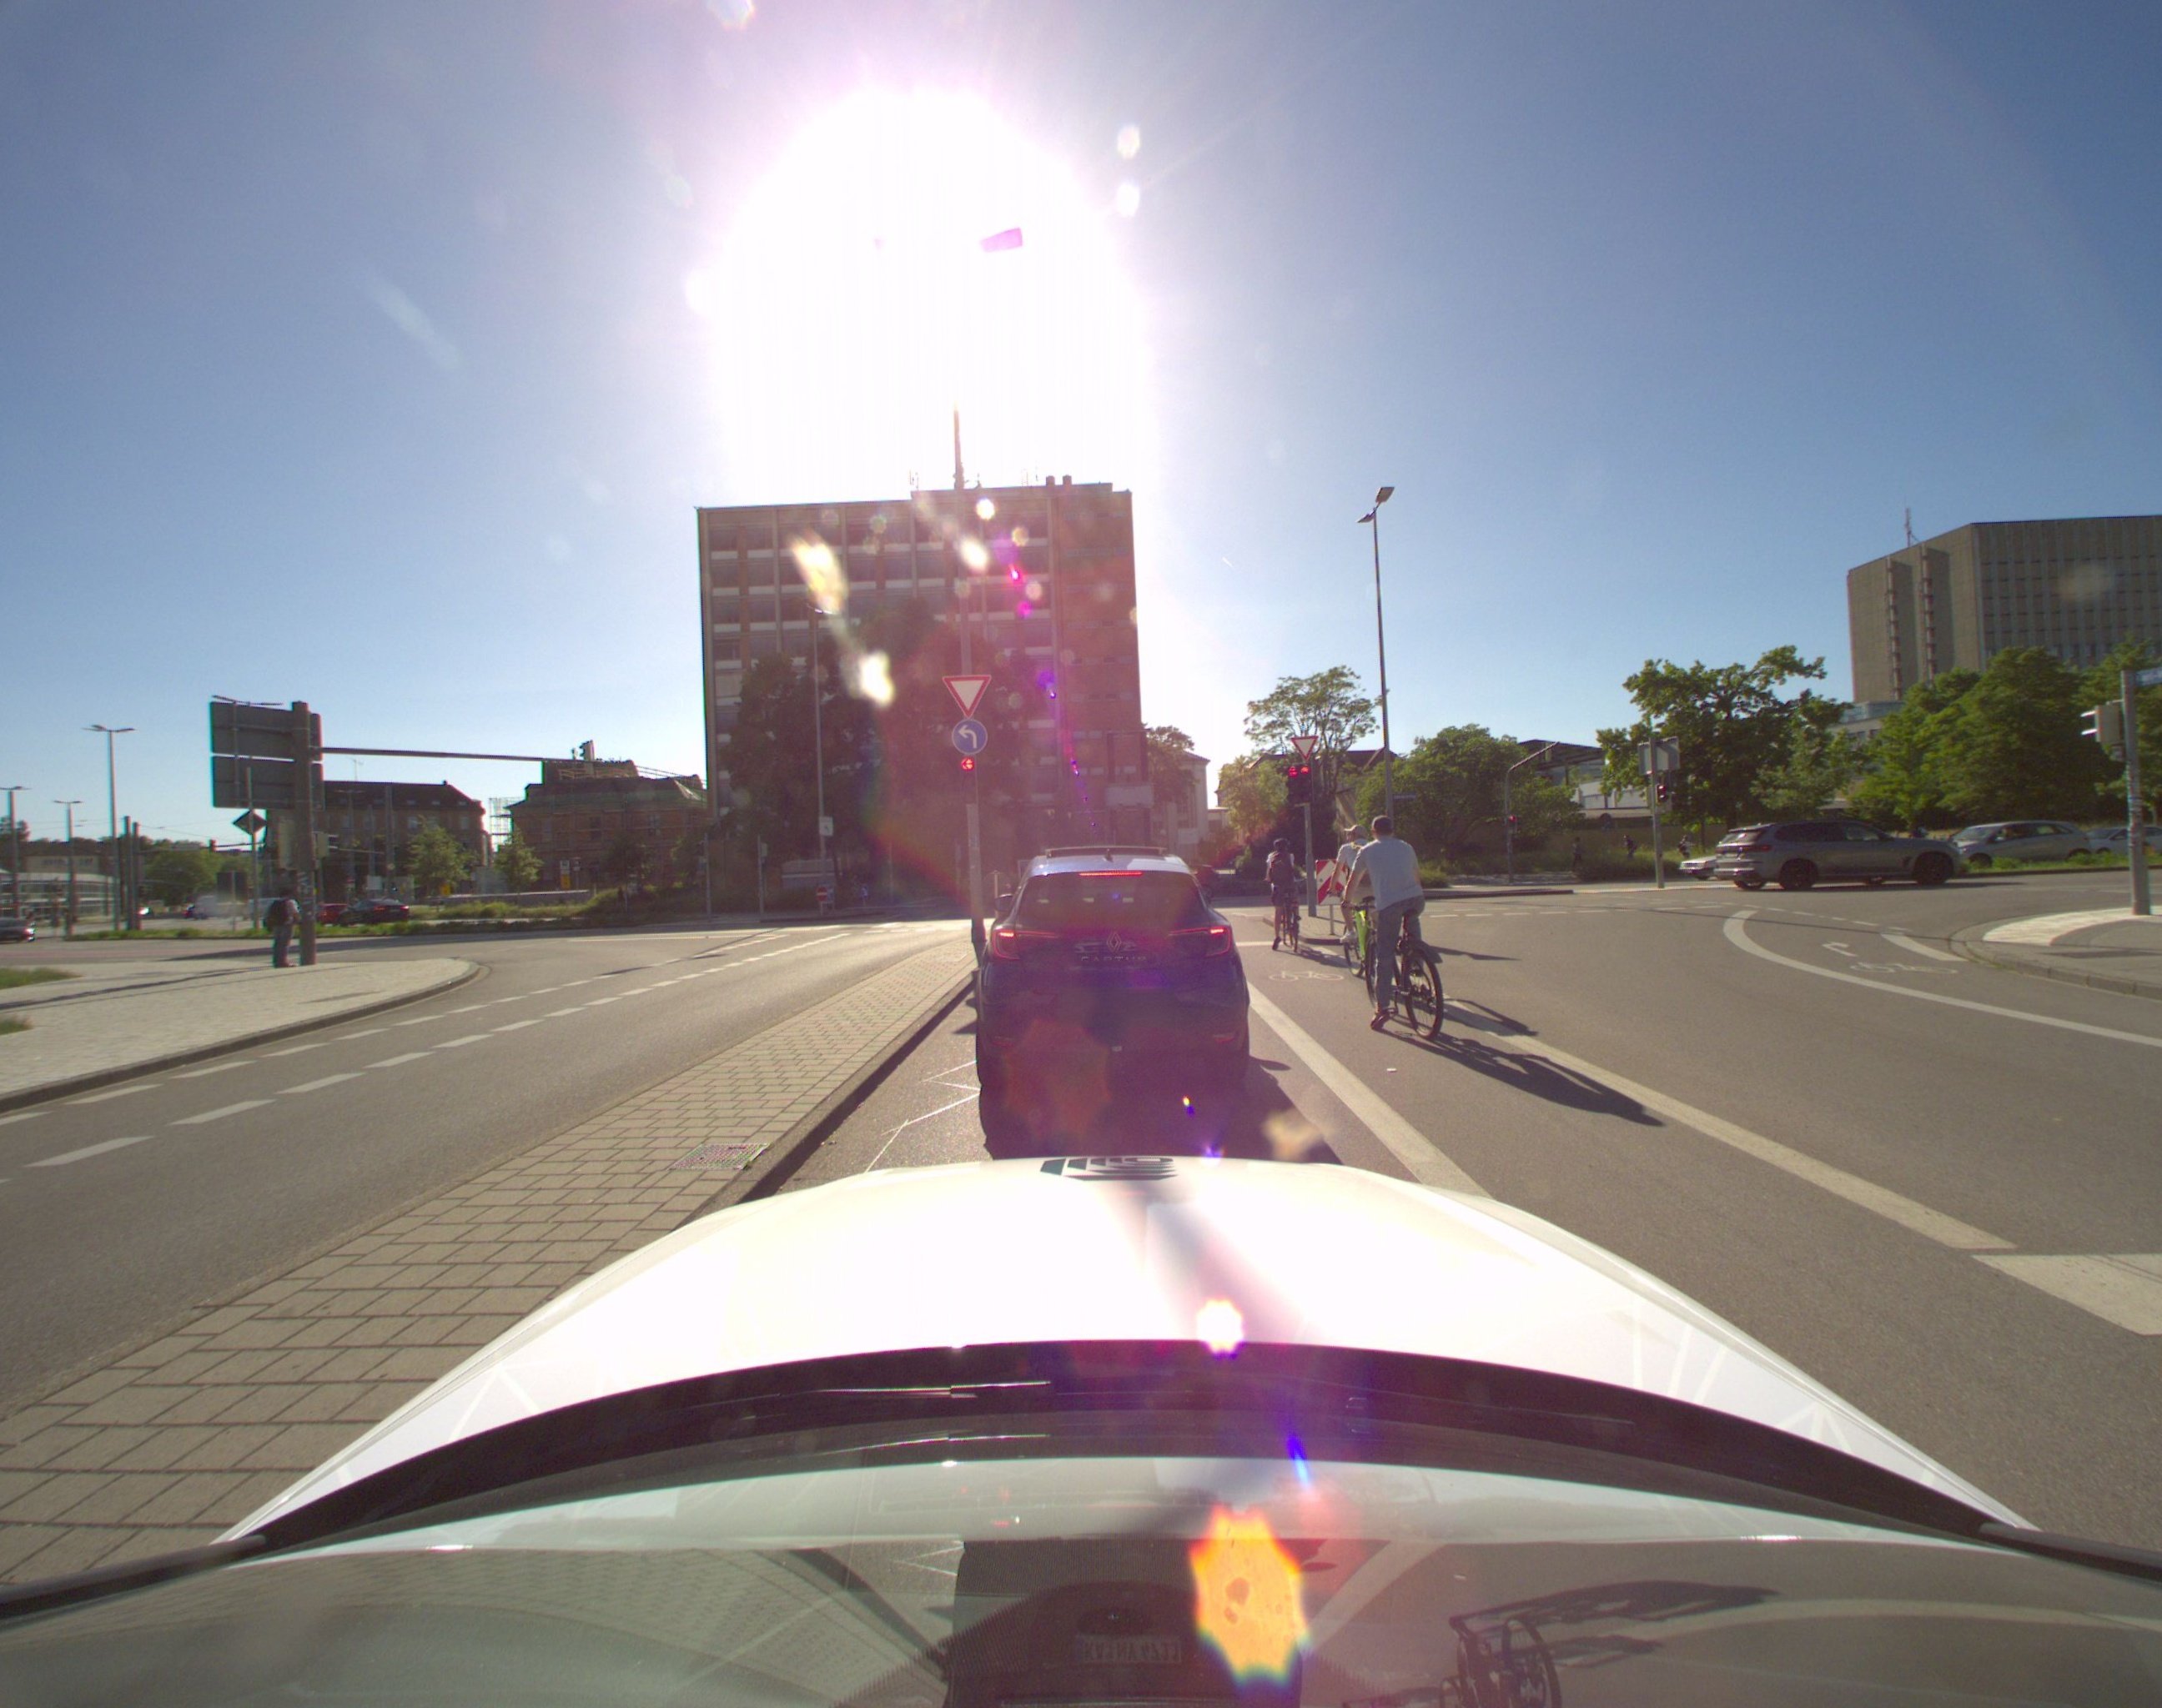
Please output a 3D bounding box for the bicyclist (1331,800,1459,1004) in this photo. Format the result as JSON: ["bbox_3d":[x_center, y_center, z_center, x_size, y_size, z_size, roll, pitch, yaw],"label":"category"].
[{"bbox_3d":[2.751,0.400,7.226,0.737,1.674,0.865,-2,-1,0],"label":"bicyclist"}]

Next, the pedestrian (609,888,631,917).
[{"bbox_3d":[-33.148,3.468,58.620,0.816,2.013,1.021,-3,-1,26],"label":"pedestrian"}]

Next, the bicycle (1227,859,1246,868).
[{"bbox_3d":[15.798,0.949,82.837,1.770,0.823,0.763,-2,-1,-9],"label":"bicycle"}]

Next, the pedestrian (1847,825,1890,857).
[{"bbox_3d":[39.037,-0.627,40.380,1.140,1.521,0.944,-2,-1,7],"label":"pedestrian"}]

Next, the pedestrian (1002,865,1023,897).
[{"bbox_3d":[-4.055,1.610,48.289,0.926,1.855,0.809,-3,-1,11],"label":"pedestrian"}]

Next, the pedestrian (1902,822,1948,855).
[{"bbox_3d":[41.058,-0.741,39.642,1.123,1.521,0.992,-2,-1,5],"label":"pedestrian"}]

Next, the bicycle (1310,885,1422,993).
[{"bbox_3d":[3.218,0.916,9.387,0.669,1.050,1.844,0,0,1],"label":"bicycle"}]

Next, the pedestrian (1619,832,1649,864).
[{"bbox_3d":[28.506,-0.289,41.999,0.974,1.604,0.830,-3,-1,15],"label":"pedestrian"}]

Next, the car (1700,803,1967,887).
[{"bbox_3d":[19.114,-0.205,20.912,4.700,1.861,2.009,-3,-1,7],"label":"car"}]

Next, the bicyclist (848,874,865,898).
[{"bbox_3d":[-13.432,1.928,48.718,0.631,1.412,0.653,-3,-1,26],"label":"bicyclist"}]

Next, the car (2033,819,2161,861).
[{"bbox_3d":[41.602,-0.552,32.837,3.932,1.491,1.815,-2,-2,8],"label":"car"}]

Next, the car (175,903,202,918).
[{"bbox_3d":[-106.379,6.710,97.057,4.796,1.581,2.115,-3,0,42],"label":"car"}]

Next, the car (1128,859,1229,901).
[{"bbox_3d":[4.174,1.089,34.642,3.959,1.570,1.843,-3,-1,13],"label":"car"}]

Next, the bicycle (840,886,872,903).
[{"bbox_3d":[-13.474,2.423,48.761,1.848,0.958,0.627,-3,-1,26],"label":"bicycle"}]

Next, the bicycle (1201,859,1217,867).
[{"bbox_3d":[15.544,1.114,99.019,1.764,0.893,0.766,-2,-1,2],"label":"bicycle"}]

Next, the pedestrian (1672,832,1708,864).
[{"bbox_3d":[30.332,-0.297,40.556,1.078,1.521,0.933,-2,-1,11],"label":"pedestrian"}]

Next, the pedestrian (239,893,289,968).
[{"bbox_3d":[-19.243,1.784,19.186,0.627,1.697,0.608,-3,-1,25],"label":"pedestrian"}]

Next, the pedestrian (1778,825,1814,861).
[{"bbox_3d":[35.633,-0.557,40.605,0.958,1.732,0.928,-2,-1,7],"label":"pedestrian"}]

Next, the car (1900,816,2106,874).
[{"bbox_3d":[29.326,-0.269,26.043,4.103,1.606,1.915,-2,0,7],"label":"car"}]

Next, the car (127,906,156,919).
[{"bbox_3d":[-147.385,9.156,127.790,2.008,1.673,3.958,-2,-1,-34],"label":"car"}]

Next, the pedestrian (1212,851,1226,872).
[{"bbox_3d":[13.613,0.717,80.275,1.152,2.013,1.165,-2,-1,2],"label":"pedestrian"}]

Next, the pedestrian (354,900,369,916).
[{"bbox_3d":[-91.960,6.865,104.051,1.078,2.013,1.282,-3,-1,44],"label":"pedestrian"}]

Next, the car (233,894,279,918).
[{"bbox_3d":[-78.115,4.926,77.080,4.950,2.013,2.086,-3,-1,34],"label":"car"}]

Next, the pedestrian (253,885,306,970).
[{"bbox_3d":[-18.178,1.657,18.472,0.673,1.855,0.608,-3,-1,25],"label":"pedestrian"}]

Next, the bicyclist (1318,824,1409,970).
[{"bbox_3d":[3.214,0.469,9.358,0.672,1.583,1.081,0,0,1],"label":"bicyclist"}]

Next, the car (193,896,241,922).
[{"bbox_3d":[-96.212,6.087,90.695,6.867,2.547,3.032,-3,-1,38],"label":"car"}]

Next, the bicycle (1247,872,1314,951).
[{"bbox_3d":[3.157,0.879,13.054,0.613,1.138,1.826,-2,0,0],"label":"bicycle"}]

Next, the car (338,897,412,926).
[{"bbox_3d":[-42.396,3.454,48.906,3.771,1.518,2.012,-3,-1,27],"label":"car"}]

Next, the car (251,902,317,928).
[{"bbox_3d":[-53.589,4.090,54.754,3.771,1.518,2.012,-3,-1,27],"label":"car"}]

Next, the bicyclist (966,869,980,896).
[{"bbox_3d":[-5.864,1.568,44.109,0.648,1.412,0.635,-2,-3,-14],"label":"bicyclist"}]

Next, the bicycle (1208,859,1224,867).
[{"bbox_3d":[15.689,1.059,94.649,1.764,0.898,0.766,-2,-1,2],"label":"bicycle"}]

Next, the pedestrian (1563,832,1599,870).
[{"bbox_3d":[25.495,-0.146,41.549,1.288,1.855,0.969,-3,-1,13],"label":"pedestrian"}]

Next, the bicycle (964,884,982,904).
[{"bbox_3d":[-5.854,2.164,44.077,0.699,1.007,1.859,-3,-3,-13],"label":"bicycle"}]

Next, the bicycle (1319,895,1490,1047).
[{"bbox_3d":[2.777,0.950,7.249,0.745,1.050,1.903,-3,0,1],"label":"bicycle"}]

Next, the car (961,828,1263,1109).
[{"bbox_3d":[0.218,0.684,6.799,1.788,1.655,3.853,-1,0,1],"label":"car"}]

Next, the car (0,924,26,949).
[{"bbox_3d":[-64.386,4.937,47.934,3.950,1.389,2.012,-4,-1,26],"label":"car"}]

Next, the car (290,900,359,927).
[{"bbox_3d":[-47.970,3.782,51.640,3.771,1.518,2.012,-3,-1,27],"label":"car"}]

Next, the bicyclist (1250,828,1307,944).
[{"bbox_3d":[3.149,0.496,13.061,0.674,1.785,0.939,-1,-1,0],"label":"bicyclist"}]
